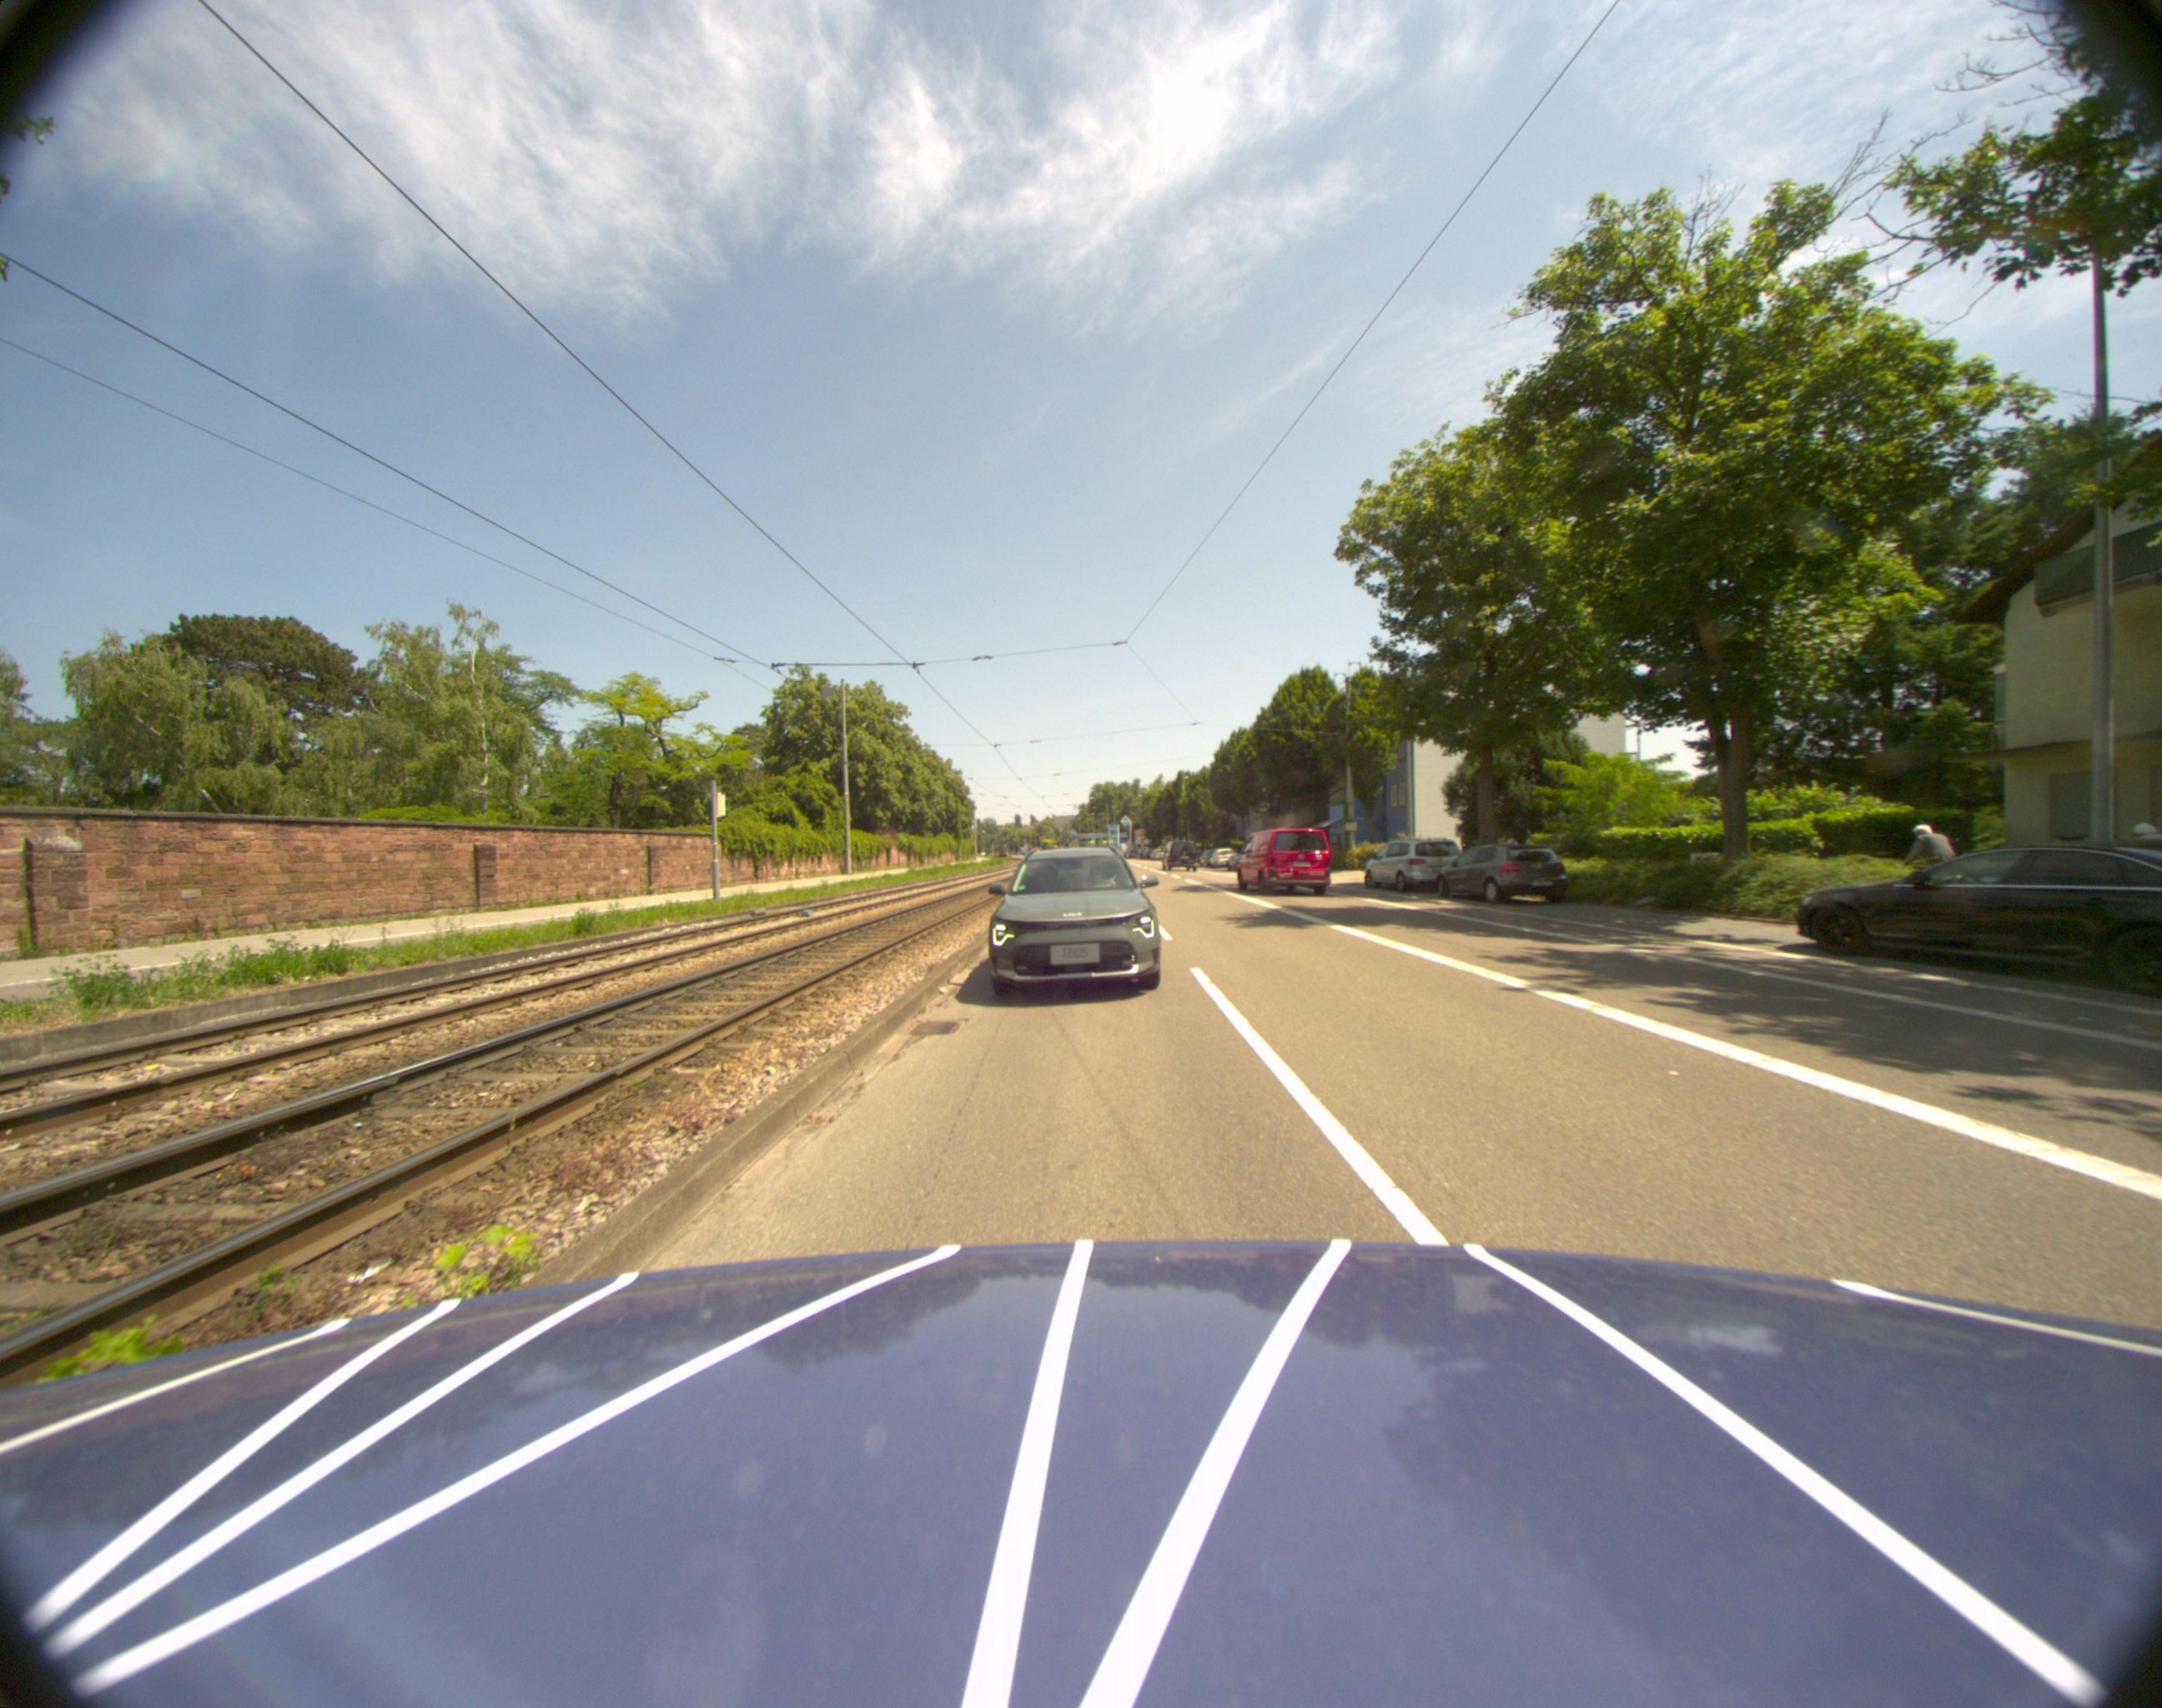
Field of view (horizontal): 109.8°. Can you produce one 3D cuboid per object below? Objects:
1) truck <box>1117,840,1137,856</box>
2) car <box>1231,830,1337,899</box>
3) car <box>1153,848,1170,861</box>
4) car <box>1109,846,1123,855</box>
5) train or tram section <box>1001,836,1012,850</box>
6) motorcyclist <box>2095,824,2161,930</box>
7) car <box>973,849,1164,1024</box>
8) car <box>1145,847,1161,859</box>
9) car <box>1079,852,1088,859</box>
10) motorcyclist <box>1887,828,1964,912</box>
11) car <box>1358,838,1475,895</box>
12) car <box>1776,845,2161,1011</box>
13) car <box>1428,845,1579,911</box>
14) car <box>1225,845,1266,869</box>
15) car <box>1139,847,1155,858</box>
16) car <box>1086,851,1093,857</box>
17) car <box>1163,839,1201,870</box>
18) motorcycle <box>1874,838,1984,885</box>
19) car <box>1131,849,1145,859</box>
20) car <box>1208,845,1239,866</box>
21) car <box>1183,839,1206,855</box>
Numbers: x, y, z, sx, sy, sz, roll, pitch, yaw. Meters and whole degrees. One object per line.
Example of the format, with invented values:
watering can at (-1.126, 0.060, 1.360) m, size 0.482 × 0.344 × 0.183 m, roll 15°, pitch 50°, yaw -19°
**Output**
truck at (7.677, -0.978, 127.396) m, size 2.135 × 2.565 × 4.860 m, roll -5°, pitch 1°, yaw -8°
car at (6.140, 0.264, 23.600) m, size 1.904 × 1.915 × 4.818 m, roll 1°, pitch 1°, yaw -1°
car at (10.705, 0.023, 101.558) m, size 1.723 × 1.487 × 4.081 m, roll -5°, pitch 1°, yaw -1°
car at (6.384, -0.582, 139.060) m, size 1.866 × 1.487 × 3.468 m, roll -5°, pitch 1°, yaw -8°
train or tram section at (-21.588, -3.157, 220.192) m, size 2.815 × 3.785 × 14.250 m, roll -2°, pitch 1°, yaw -6°
motorcyclist at (15.686, 0.325, 11.181) m, size 0.587 × 1.494 × 0.662 m, roll -4°, pitch 1°, yaw 2°
car at (-0.097, 0.769, 9.419) m, size 1.759 × 1.574 × 4.426 m, roll -2°, pitch 1°, yaw 1°
car at (10.185, -0.147, 107.494) m, size 1.865 × 1.487 × 3.470 m, roll -5°, pitch 1°, yaw -1°
car at (0.570, 0.343, 179.517) m, size 1.865 × 1.487 × 3.470 m, roll -5°, pitch 1°, yaw -1°
motorcyclist at (15.884, 0.293, 14.305) m, size 0.587 × 1.494 × 0.725 m, roll -4°, pitch 1°, yaw 2°
car at (11.079, 0.344, 25.493) m, size 1.975 × 1.679 × 4.687 m, roll -2°, pitch 1°, yaw 2°
car at (10.804, 0.666, 8.310) m, size 1.899 × 1.448 × 4.808 m, roll -2°, pitch 1°, yaw -2°
car at (10.891, 0.541, 19.955) m, size 1.680 × 1.478 × 4.127 m, roll -2°, pitch 1°, yaw 0°
car at (11.277, 0.186, 52.444) m, size 1.680 × 1.487 × 4.638 m, roll -5°, pitch 1°, yaw -1°
car at (9.766, -0.193, 112.106) m, size 1.865 × 1.487 × 3.470 m, roll -5°, pitch 1°, yaw -1°
car at (2.290, 0.010, 212.046) m, size 1.865 × 1.487 × 3.469 m, roll -1°, pitch 1°, yaw -2°
car at (6.591, 0.015, 49.913) m, size 1.923 × 1.900 × 4.570 m, roll 0°, pitch 1°, yaw 0°
motorcycle at (15.863, 0.128, 14.260) m, size 0.527 × 0.821 × 1.371 m, roll -4°, pitch 1°, yaw 2°
car at (9.143, -0.007, 121.323) m, size 1.865 × 1.487 × 3.470 m, roll -5°, pitch 1°, yaw -1°
car at (11.644, 0.108, 62.335) m, size 1.656 × 1.487 × 3.649 m, roll -5°, pitch 1°, yaw -1°
car at (11.766, -0.720, 79.059) m, size 1.656 × 1.487 × 4.081 m, roll -5°, pitch 1°, yaw -1°
